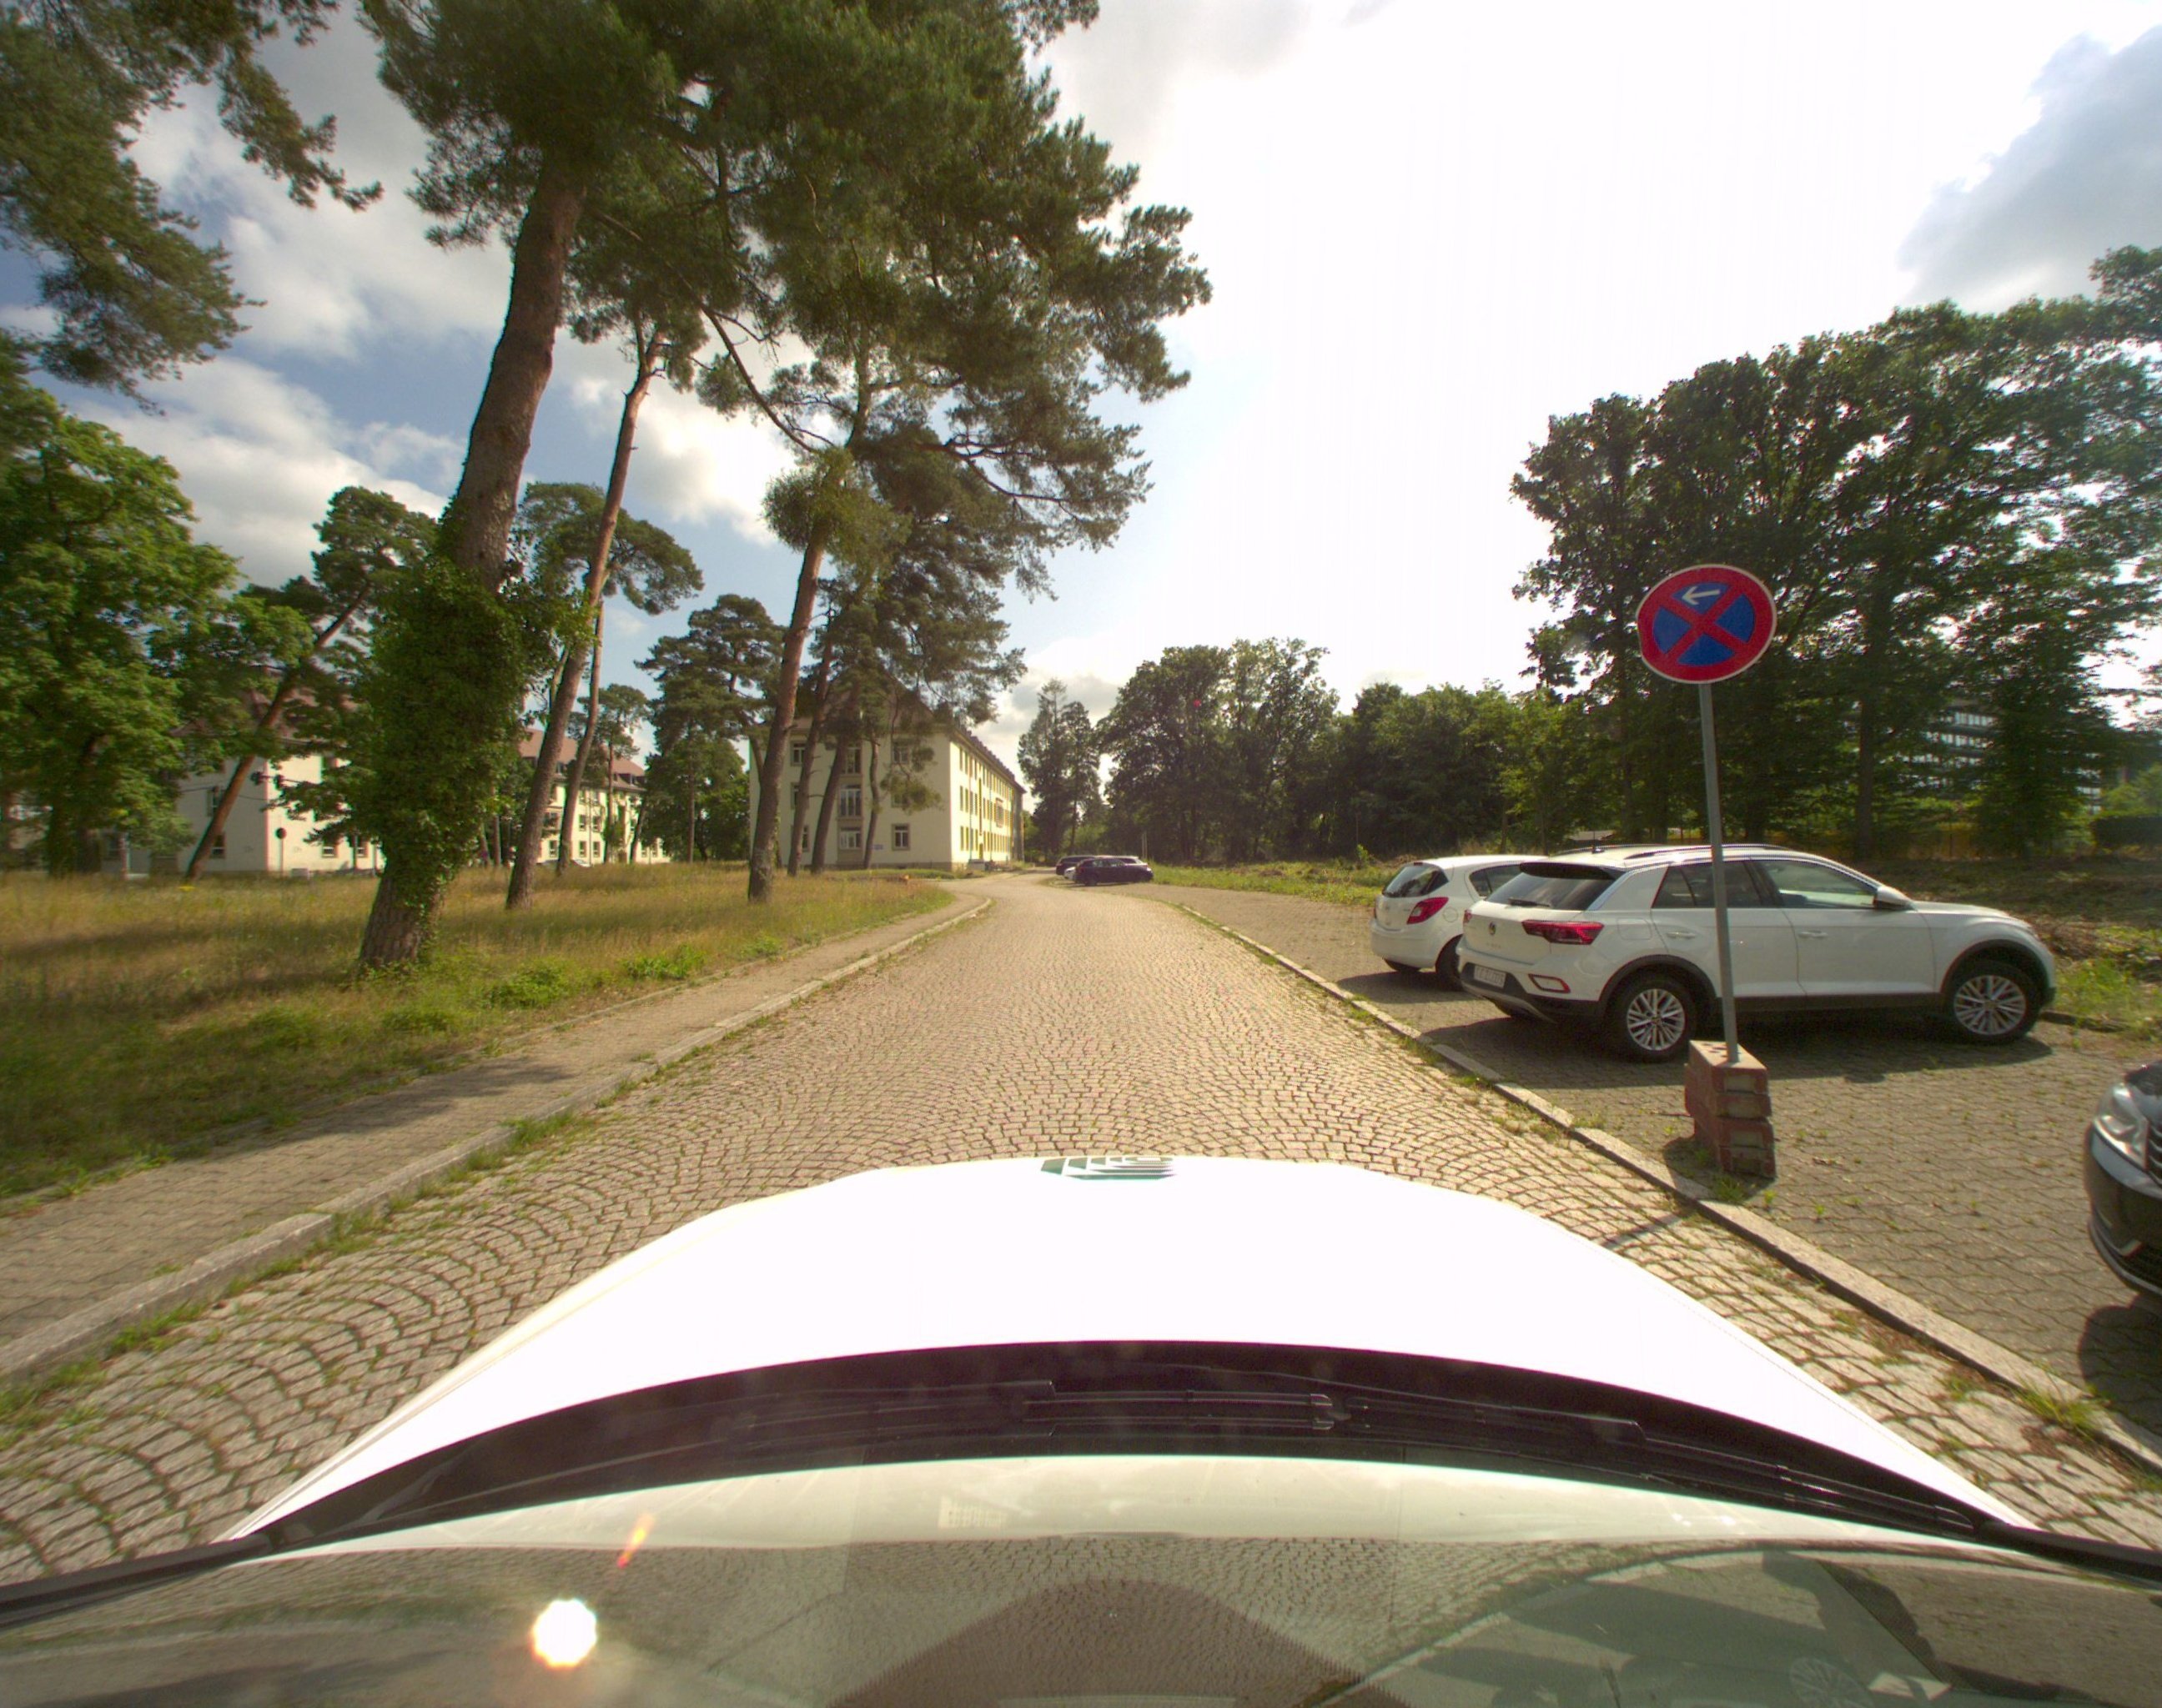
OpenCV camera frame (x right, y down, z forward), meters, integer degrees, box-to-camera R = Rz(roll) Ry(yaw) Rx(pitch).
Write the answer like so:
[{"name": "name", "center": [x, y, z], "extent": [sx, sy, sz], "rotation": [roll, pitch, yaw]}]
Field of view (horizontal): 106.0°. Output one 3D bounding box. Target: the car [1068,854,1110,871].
[{"name": "car", "center": [0.846, 0.880, 82.095], "extent": [4.171, 1.543, 1.821], "rotation": [-2, -1, 2]}]

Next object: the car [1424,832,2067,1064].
[{"name": "car", "center": [5.219, 0.672, 6.776], "extent": [3.977, 1.507, 1.745], "rotation": [-2, 0, -3]}]

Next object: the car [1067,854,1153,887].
[{"name": "car", "center": [1.518, 0.859, 43.378], "extent": [4.322, 1.500, 1.825], "rotation": [-2, 1, -8]}]

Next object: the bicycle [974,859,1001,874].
[{"name": "bicycle", "center": [-8.122, 1.104, 70.989], "extent": [2.213, 1.260, 0.623], "rotation": [-1, -1, 2]}]

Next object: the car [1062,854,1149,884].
[{"name": "car", "center": [1.363, 0.841, 46.616], "extent": [4.848, 1.472, 1.873], "rotation": [-2, 1, -2]}]

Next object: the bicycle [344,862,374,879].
[{"name": "bicycle", "center": [-49.283, 1.103, 55.600], "extent": [0.486, 1.101, 1.591], "rotation": [-1, 0, 12]}]

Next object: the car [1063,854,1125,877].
[{"name": "car", "center": [0.908, 0.836, 59.281], "extent": [4.386, 1.484, 1.765], "rotation": [-2, -1, -2]}]

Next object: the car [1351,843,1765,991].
[{"name": "car", "center": [5.583, 0.693, 9.861], "extent": [4.032, 1.464, 1.703], "rotation": [-2, 0, -3]}]

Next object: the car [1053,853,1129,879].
[{"name": "car", "center": [0.644, 0.781, 53.967], "extent": [4.839, 1.552, 1.879], "rotation": [-2, -1, -2]}]

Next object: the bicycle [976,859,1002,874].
[{"name": "bicycle", "center": [-8.129, 1.109, 71.998], "extent": [2.213, 1.260, 0.623], "rotation": [-1, -1, 2]}]

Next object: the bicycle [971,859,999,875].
[{"name": "bicycle", "center": [-8.255, 1.114, 70.053], "extent": [2.210, 1.260, 0.624], "rotation": [-1, -1, 6]}]

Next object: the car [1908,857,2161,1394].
[{"name": "car", "center": [5.246, 0.695, 2.200], "extent": [4.445, 1.475, 1.743], "rotation": [-2, 0, -4]}]
